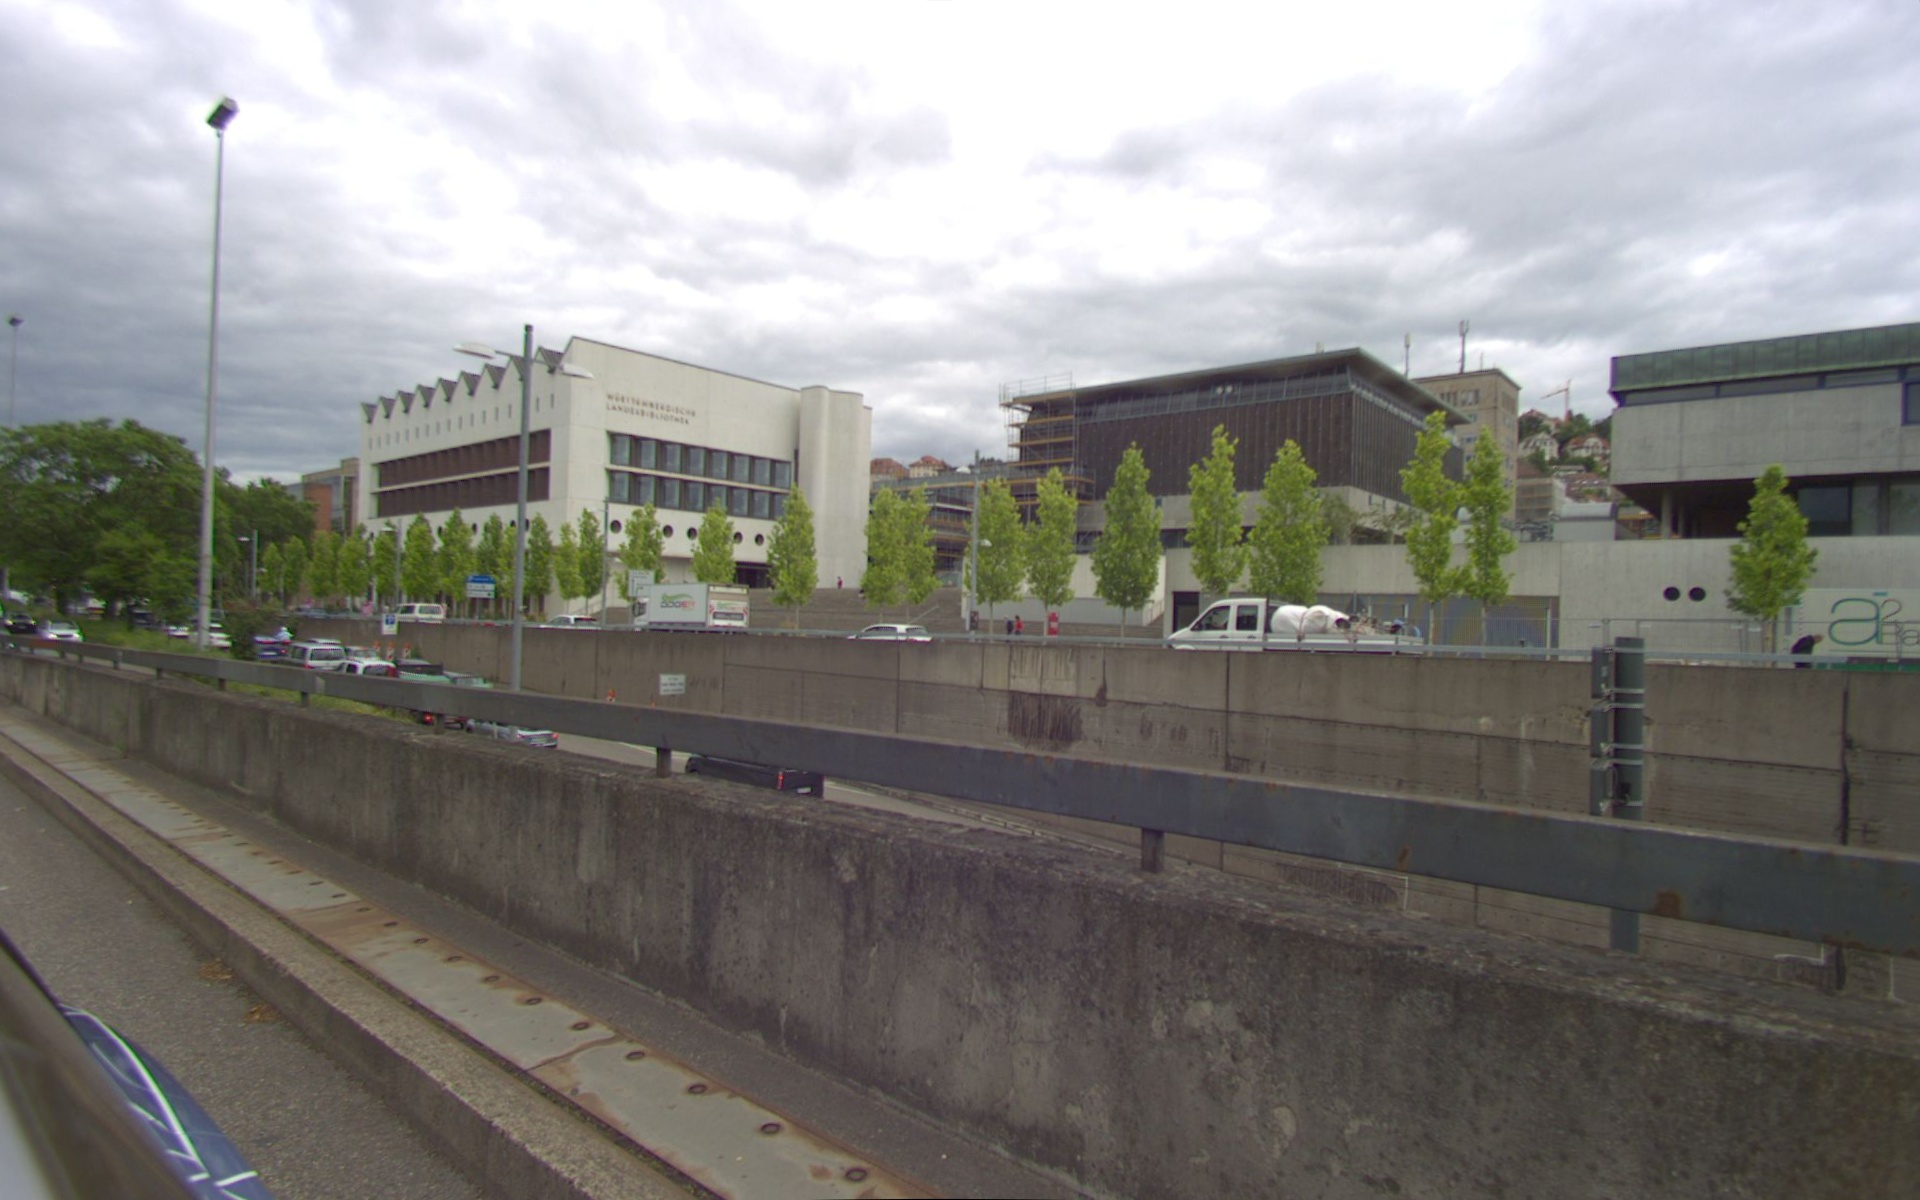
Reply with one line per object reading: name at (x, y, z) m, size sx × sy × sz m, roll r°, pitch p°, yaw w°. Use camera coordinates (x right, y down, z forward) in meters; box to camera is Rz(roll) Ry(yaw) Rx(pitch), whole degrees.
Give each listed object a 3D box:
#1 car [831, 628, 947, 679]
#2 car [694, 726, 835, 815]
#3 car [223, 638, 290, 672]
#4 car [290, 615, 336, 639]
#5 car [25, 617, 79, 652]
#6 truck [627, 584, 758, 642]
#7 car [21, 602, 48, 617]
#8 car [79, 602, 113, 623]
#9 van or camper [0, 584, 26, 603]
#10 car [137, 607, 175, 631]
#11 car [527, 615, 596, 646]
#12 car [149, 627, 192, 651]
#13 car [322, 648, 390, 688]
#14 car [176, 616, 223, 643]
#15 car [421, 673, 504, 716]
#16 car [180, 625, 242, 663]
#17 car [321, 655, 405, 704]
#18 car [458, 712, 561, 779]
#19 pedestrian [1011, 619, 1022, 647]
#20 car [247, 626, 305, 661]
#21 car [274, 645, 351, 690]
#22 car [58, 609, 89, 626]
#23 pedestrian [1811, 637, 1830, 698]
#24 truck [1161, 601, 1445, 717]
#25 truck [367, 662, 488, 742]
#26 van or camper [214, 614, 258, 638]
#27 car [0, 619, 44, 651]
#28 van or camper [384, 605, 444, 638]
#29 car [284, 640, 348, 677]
car at (-2.731, 1.979, 38.283) m, size 4.256 × 1.830 × 1.972 m, roll -2°, pitch -2°, yaw 41°
car at (-5.923, 5.036, 30.427) m, size 4.227 × 1.970 × 1.973 m, roll -1°, pitch -1°, yaw 41°
car at (-38.622, 3.005, 55.554) m, size 4.279 × 1.757 × 1.972 m, roll -1°, pitch -5°, yaw 41°
car at (-49.723, 2.084, 77.790) m, size 3.998 × 1.830 × 1.972 m, roll -2°, pitch -2°, yaw 41°
car at (-55.790, 2.093, 62.165) m, size 3.998 × 2.029 × 1.973 m, roll -1°, pitch -2°, yaw 41°
truck at (-14.042, 0.749, 52.759) m, size 7.251 × 2.809 × 3.196 m, roll -2°, pitch -2°, yaw 42°
car at (-94.546, 0.959, 103.376) m, size 3.360 × 1.497 × 1.653 m, roll -2°, pitch -2°, yaw 41°
car at (-83.793, 1.188, 98.111) m, size 3.998 × 2.029 × 1.973 m, roll -1°, pitch -1°, yaw 41°
van or camper at (-107.705, -0.734, 114.939) m, size 3.998 × 2.029 × 2.010 m, roll -2°, pitch -2°, yaw 41°
car at (-73.242, 1.770, 92.176) m, size 3.998 × 2.029 × 1.972 m, roll -1°, pitch -5°, yaw 41°
car at (-21.097, 1.626, 53.515) m, size 4.270 × 1.586 × 1.700 m, roll -2°, pitch -2°, yaw 43°
car at (-53.270, 2.623, 68.271) m, size 3.360 × 1.497 × 1.653 m, roll -1°, pitch -2°, yaw 41°
car at (-33.169, 3.739, 55.578) m, size 3.998 × 2.029 × 1.972 m, roll -1°, pitch -5°, yaw 41°
car at (-58.650, 2.271, 78.045) m, size 4.653 × 2.029 × 1.973 m, roll -2°, pitch -2°, yaw 41°
car at (-22.359, 4.196, 45.401) m, size 3.998 × 1.564 × 1.973 m, roll -1°, pitch -1°, yaw 41°
car at (-46.034, 2.691, 62.173) m, size 4.850 × 2.148 × 1.972 m, roll -1°, pitch -5°, yaw 41°
car at (-26.681, 3.544, 45.222) m, size 3.998 × 2.029 × 1.972 m, roll -1°, pitch -5°, yaw 41°
car at (-15.667, 4.987, 35.157) m, size 3.925 × 1.829 × 1.771 m, roll -1°, pitch -2°, yaw 41°
pedestrian at (3.114, 1.816, 55.609) m, size 0.461 × 1.533 × 0.377 m, roll -1°, pitch -2°, yaw 35°
car at (-43.247, 2.738, 63.928) m, size 3.998 × 2.029 × 1.972 m, roll -1°, pitch -5°, yaw 41°
car at (-31.840, 3.306, 49.717) m, size 4.331 × 2.029 × 1.972 m, roll -1°, pitch -5°, yaw 41°
car at (-77.577, 1.536, 88.546) m, size 3.360 × 1.497 × 1.653 m, roll -2°, pitch -2°, yaw 41°
pedestrian at (22.105, 1.720, 26.007) m, size 0.316 × 1.533 × 0.314 m, roll -1°, pitch -1°, yaw 35°
truck at (9.308, 1.549, 28.103) m, size 7.077 × 2.838 × 2.437 m, roll -2°, pitch -2°, yaw 43°
truck at (-21.110, 3.925, 39.980) m, size 5.977 × 2.711 × 2.294 m, roll -2°, pitch -2°, yaw 42°
van or camper at (-62.475, 2.240, 87.298) m, size 4.552 × 2.029 × 1.974 m, roll -2°, pitch -2°, yaw 39°
car at (-63.504, 2.352, 68.322) m, size 3.999 × 2.029 × 1.972 m, roll 1°, pitch -2°, yaw 42°
van or camper at (-35.537, 1.413, 65.849) m, size 4.555 × 2.029 × 1.972 m, roll -2°, pitch -2°, yaw 41°
car at (-37.734, 3.407, 59.273) m, size 3.998 × 2.029 × 1.972 m, roll -1°, pitch -5°, yaw 41°
